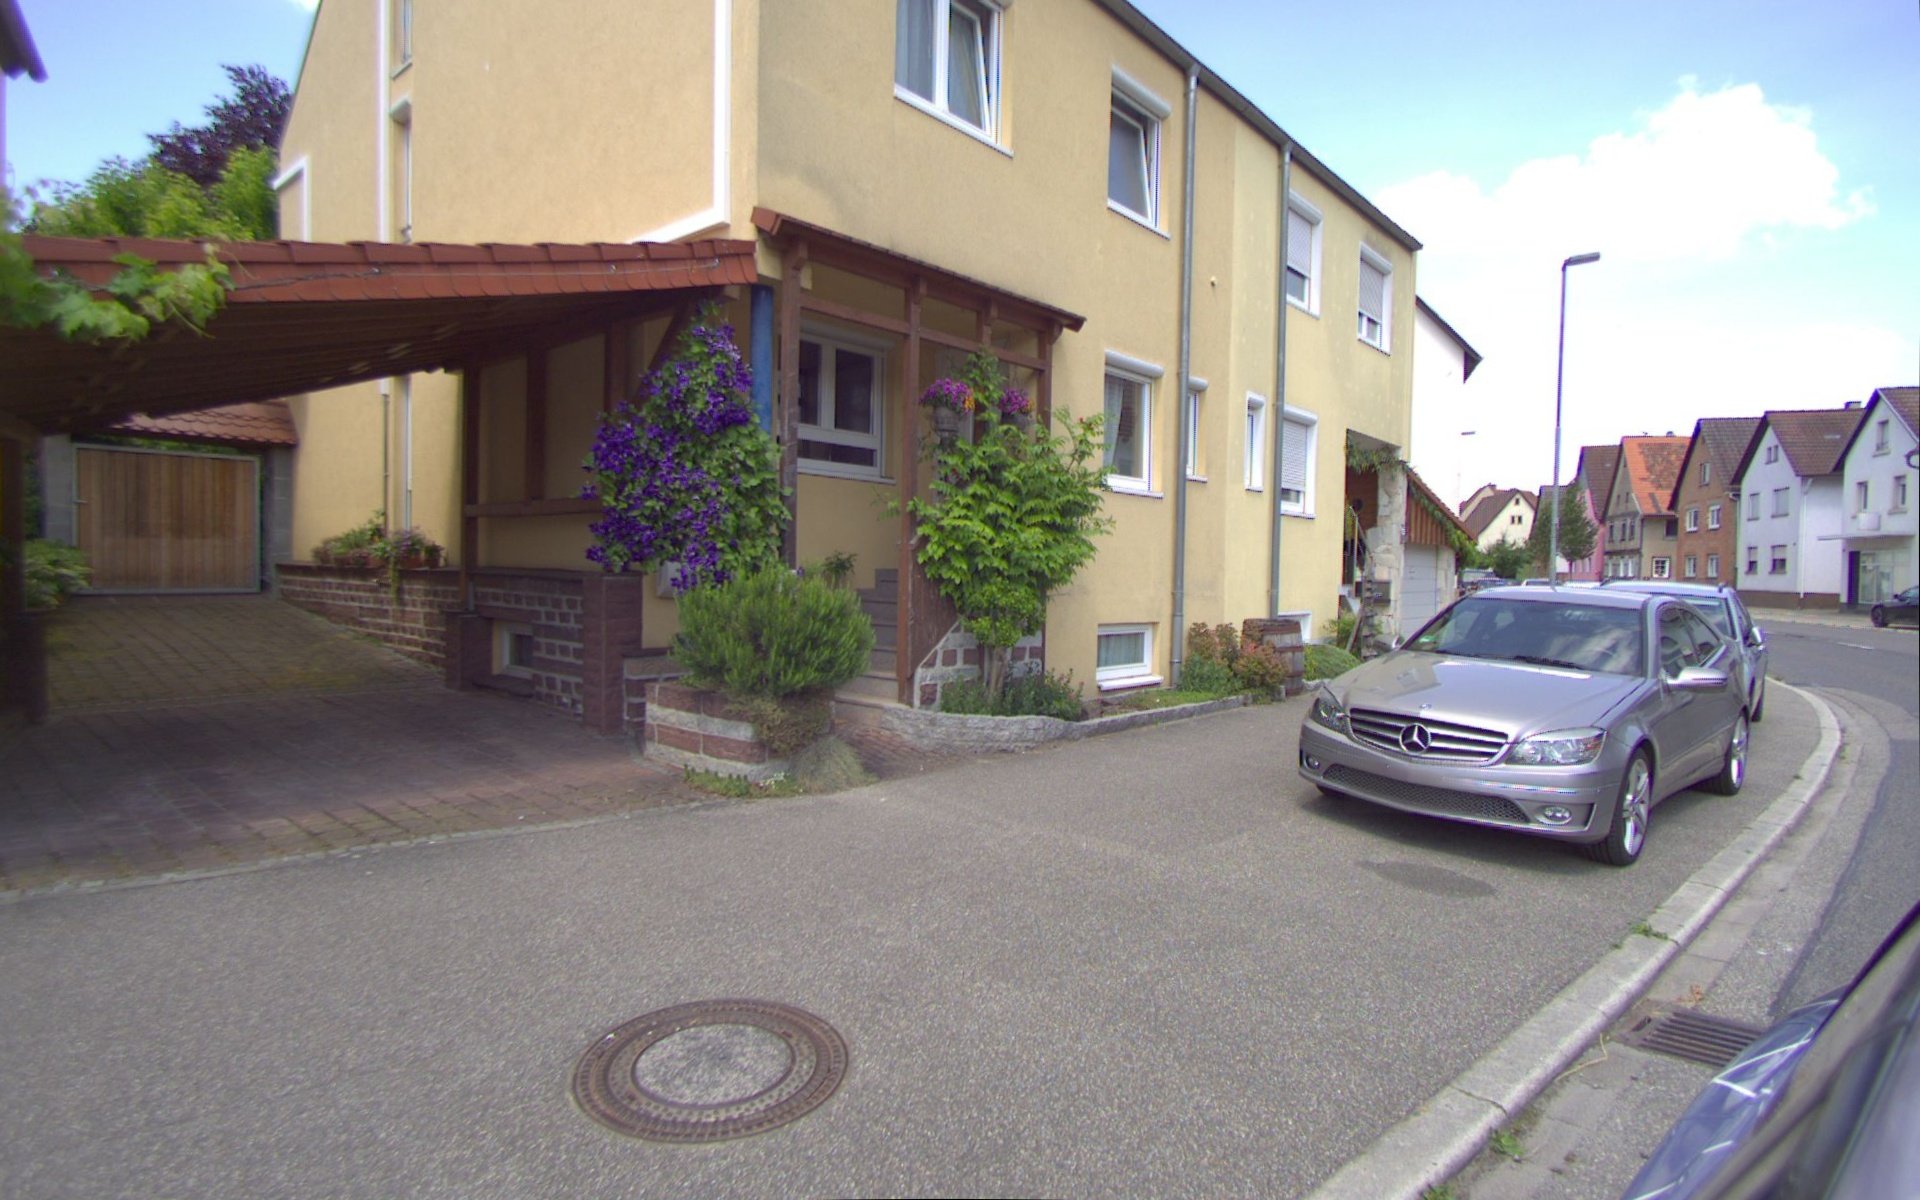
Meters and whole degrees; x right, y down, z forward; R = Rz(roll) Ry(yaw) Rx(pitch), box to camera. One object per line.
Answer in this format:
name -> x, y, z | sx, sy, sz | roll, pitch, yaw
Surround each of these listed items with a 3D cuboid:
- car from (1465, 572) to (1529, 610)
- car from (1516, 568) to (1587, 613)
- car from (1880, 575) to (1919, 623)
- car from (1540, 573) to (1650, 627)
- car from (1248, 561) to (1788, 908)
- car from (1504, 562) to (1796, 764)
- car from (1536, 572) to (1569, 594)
car -> 25.114, -0.449, 47.446 | 1.640, 1.668, 3.986 | -1, 1, 12
car -> 21.983, -0.329, 37.741 | 1.754, 1.549, 3.968 | 1, 0, 23
car -> 29.706, -0.031, 30.216 | 1.789, 1.438, 4.517 | 0, 1, 22
car -> 19.262, -0.050, 30.887 | 1.704, 1.402, 3.983 | 1, 3, 15
car -> 3.840, 0.512, 6.580 | 4.351, 1.416, 1.773 | -3, 6, -43
car -> 7.250, 0.450, 10.439 | 1.884, 1.548, 4.271 | 5, 4, 42
car -> 45.153, -1.333, 77.193 | 1.665, 1.548, 3.475 | 0, 2, 22
